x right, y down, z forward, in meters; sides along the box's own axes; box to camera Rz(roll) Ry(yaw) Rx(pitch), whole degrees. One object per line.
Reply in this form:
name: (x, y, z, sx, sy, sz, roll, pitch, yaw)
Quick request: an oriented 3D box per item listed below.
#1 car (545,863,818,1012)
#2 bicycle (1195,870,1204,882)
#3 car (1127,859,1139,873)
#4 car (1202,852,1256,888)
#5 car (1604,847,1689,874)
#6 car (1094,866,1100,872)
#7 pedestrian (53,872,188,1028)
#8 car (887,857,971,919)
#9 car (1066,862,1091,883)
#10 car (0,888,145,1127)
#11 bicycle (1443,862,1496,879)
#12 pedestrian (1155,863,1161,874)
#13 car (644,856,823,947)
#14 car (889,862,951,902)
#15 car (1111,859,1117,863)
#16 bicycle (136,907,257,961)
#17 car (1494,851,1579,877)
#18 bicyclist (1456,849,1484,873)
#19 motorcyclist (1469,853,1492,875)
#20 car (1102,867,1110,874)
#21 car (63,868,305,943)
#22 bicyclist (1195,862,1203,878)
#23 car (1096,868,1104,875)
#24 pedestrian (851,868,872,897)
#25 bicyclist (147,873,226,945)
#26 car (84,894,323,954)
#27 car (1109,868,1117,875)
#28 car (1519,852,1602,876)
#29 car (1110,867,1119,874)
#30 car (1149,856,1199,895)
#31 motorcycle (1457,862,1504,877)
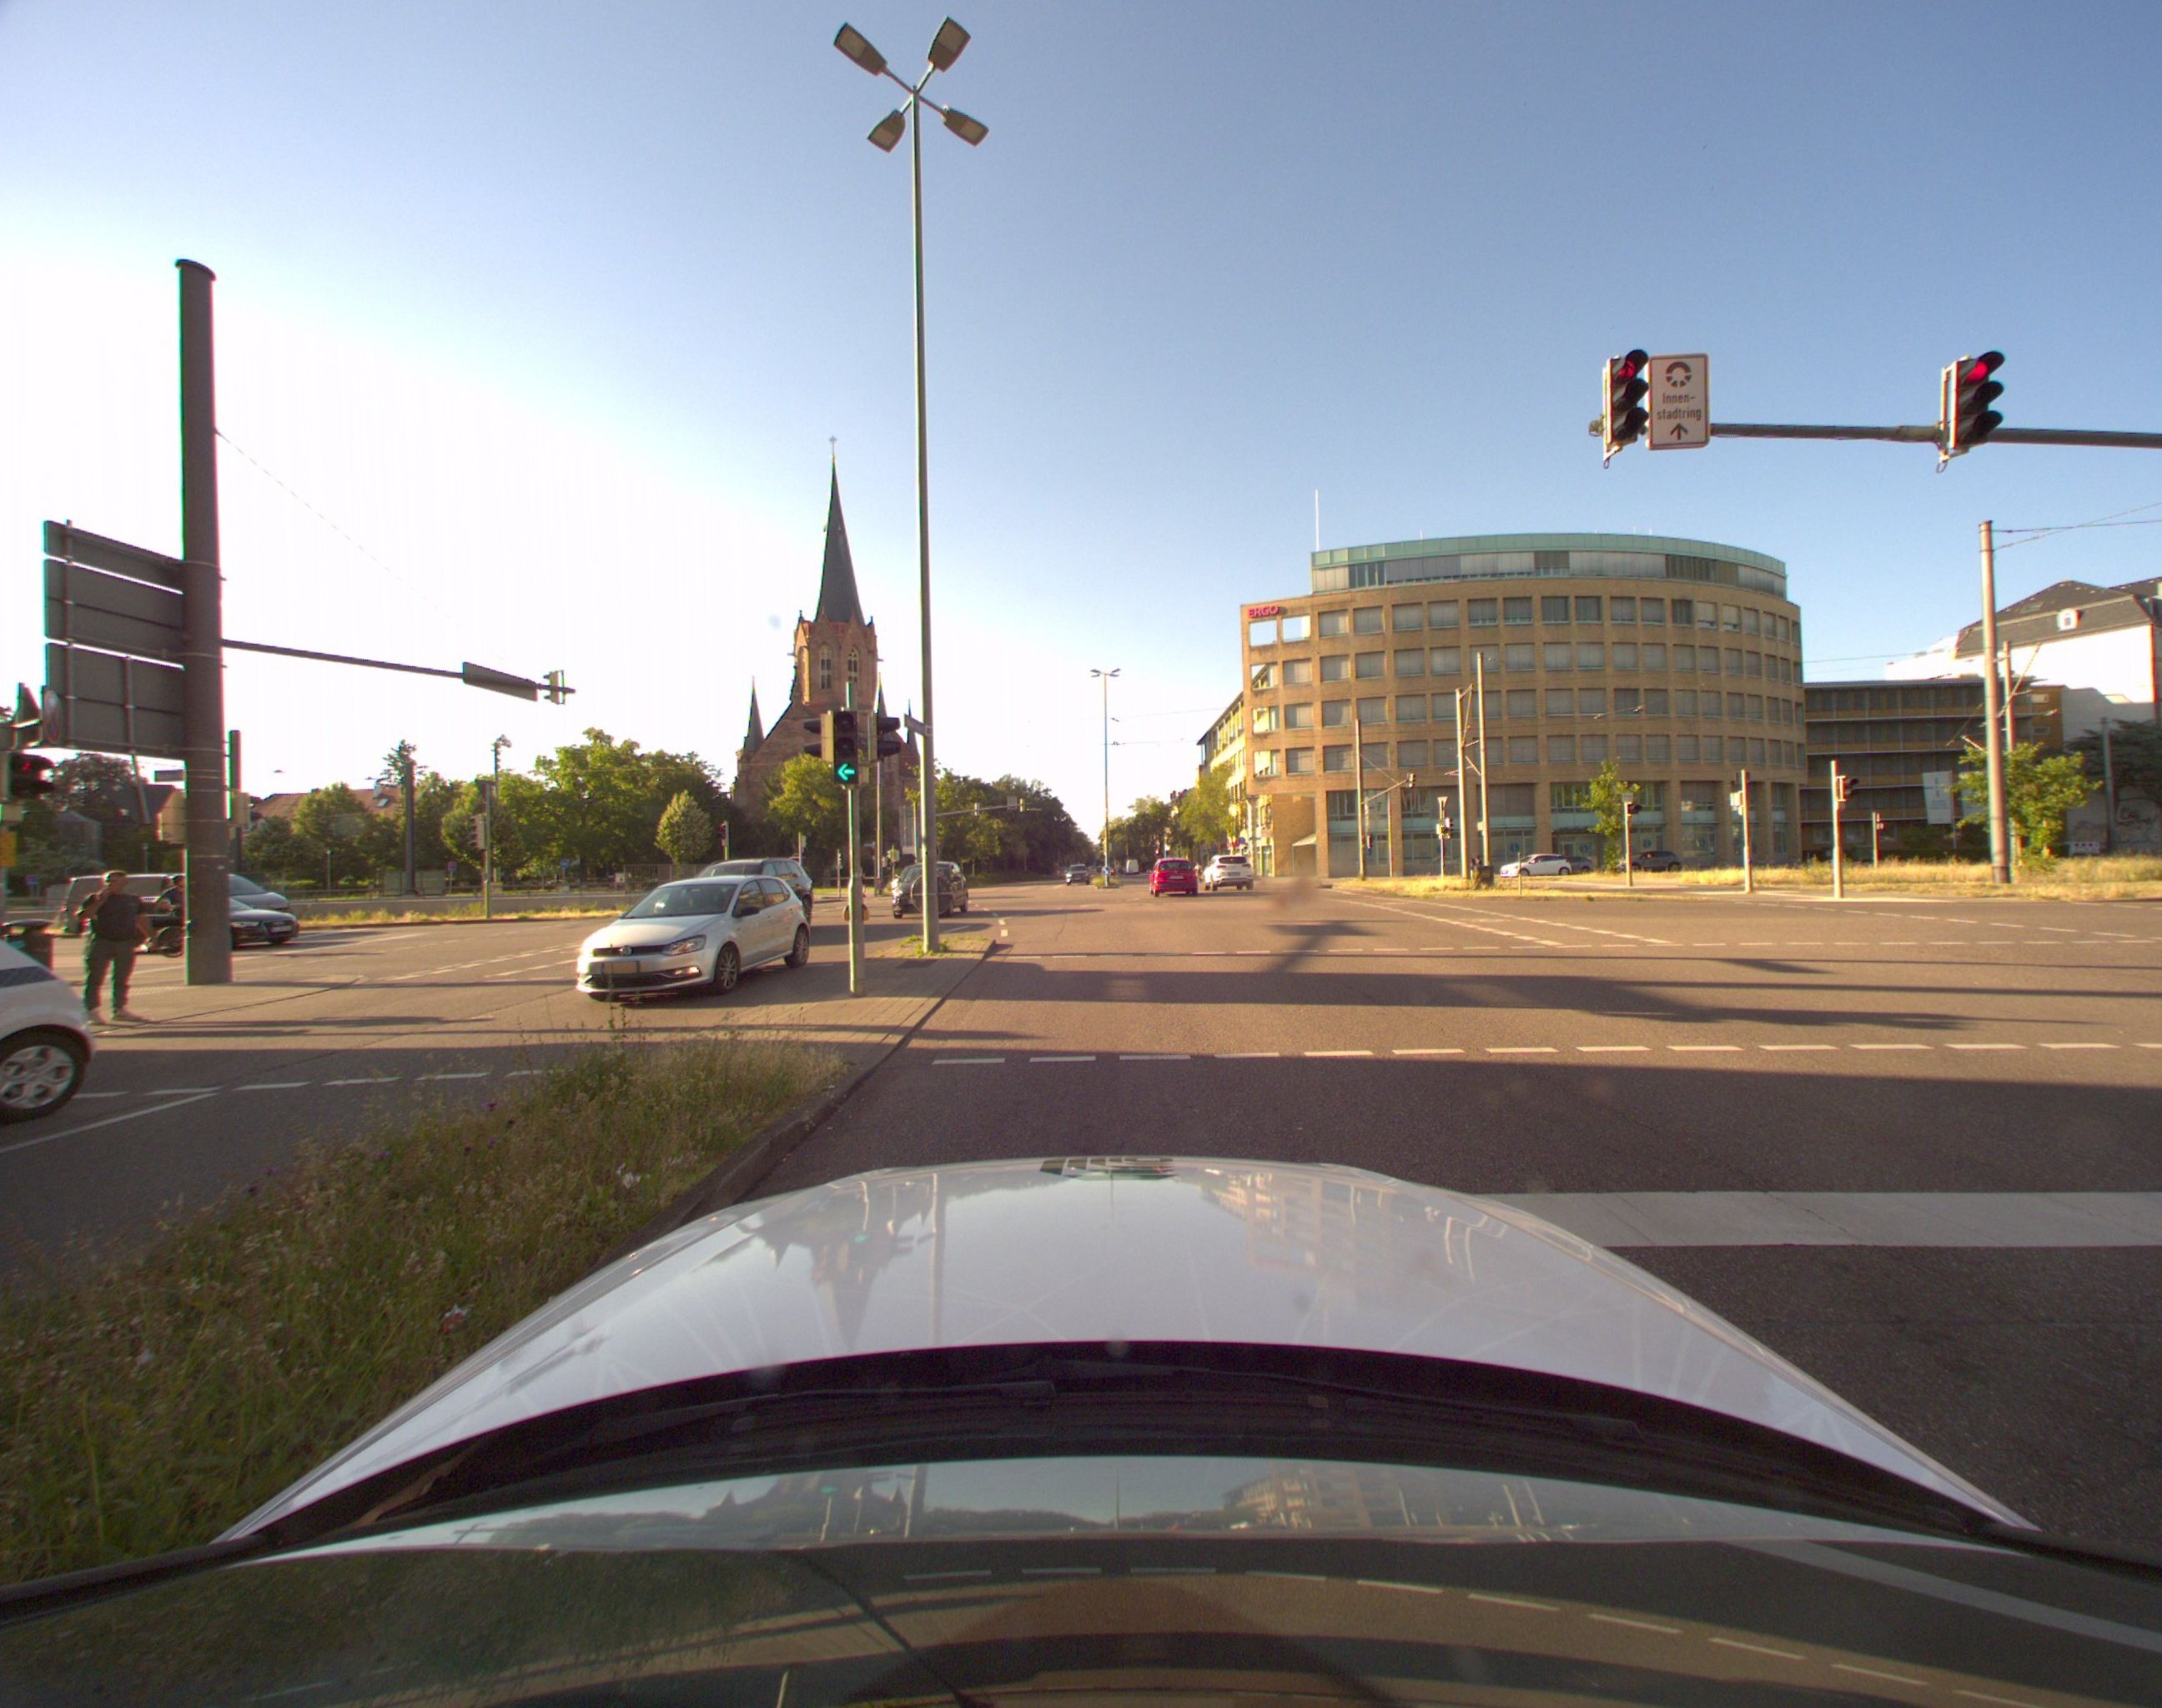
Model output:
car: (-5.102, 0.961, 11.048, 1.669, 1.544, 3.807, -3, 0, 2)
bicycle: (10.058, 1.875, 69.129, 0.590, 0.943, 1.979, 0, -1, 2)
car: (9.192, 2.188, 144.286, 1.986, 2.441, 4.002, 0, -1, 2)
car: (6.879, 0.740, 38.265, 1.909, 1.607, 4.271, 0, -1, 2)
car: (35.252, 0.416, 50.828, 4.038, 1.492, 1.820, -2, -1, 0)
car: (4.953, 4.561, 251.129, 1.879, 1.671, 4.002, 0, -1, 2)
pedestrian: (-11.677, 1.130, 9.926, 0.605, 1.787, 0.813, 1, -1, 5)
car: (-4.277, 0.917, 23.385, 1.572, 1.544, 3.478, -3, 0, 2)
car: (-0.171, 1.624, 70.955, 1.986, 1.724, 5.031, -2, -2, 1)
car: (-8.019, 1.074, 4.384, 1.670, 1.544, 3.637, -3, 0, 0)
bicycle: (25.506, 1.104, 53.503, 2.951, 1.000, 1.154, -2, -1, -1)
pedestrian: (12.376, 2.360, 130.358, 0.844, 1.803, 0.776, -2, -1, 1)
car: (-7.649, 0.952, 18.544, 1.809, 1.711, 4.787, -3, 0, 2)
car: (-7.046, 1.181, 36.062, 1.788, 1.565, 4.148, -2, 0, 1)
car: (10.290, 2.234, 254.861, 1.588, 1.267, 3.268, -2, -1, 2)
bicycle: (-20.808, 1.874, 19.188, 1.770, 1.097, 0.952, -3, 0, 1)
car: (28.374, 0.622, 50.843, 4.150, 1.492, 1.994, -2, -1, -1)
bicyclist: (25.534, 0.458, 53.517, 1.219, 1.572, 1.154, -2, -1, 0)
motorcyclist: (27.411, 0.684, 55.898, 1.061, 1.435, 1.032, -2, -1, 1)
car: (5.231, 3.444, 167.469, 1.588, 1.267, 3.268, -2, -1, 2)
car: (-26.676, 1.490, 24.366, 4.908, 2.014, 1.999, -2, -1, -1)
bicyclist: (10.059, 1.341, 69.234, 0.590, 1.369, 0.930, 0, -1, 2)
car: (3.928, 3.603, 167.126, 1.588, 1.267, 3.268, -2, -1, 2)
pedestrian: (-13.224, 1.705, 49.034, 0.961, 1.739, 0.812, -1, -1, 1)
bicyclist: (-21.058, 1.270, 19.191, 0.733, 1.598, 0.963, -3, 0, 1)
car: (-22.642, 1.782, 21.147, 4.175, 1.313, 1.800, -2, -1, -1)
car: (6.163, 3.276, 156.217, 1.588, 1.267, 3.268, -2, -1, 2)
car: (32.844, 0.704, 55.863, 4.464, 1.537, 1.987, -2, -1, 2)
car: (5.870, 2.924, 143.412, 1.588, 1.267, 3.268, -2, -1, 2)
car: (3.652, 0.844, 32.496, 1.663, 1.462, 4.001, 0, -1, 2)
motorcycle: (27.406, 1.076, 55.888, 2.708, 0.964, 1.032, -2, -1, 0)
